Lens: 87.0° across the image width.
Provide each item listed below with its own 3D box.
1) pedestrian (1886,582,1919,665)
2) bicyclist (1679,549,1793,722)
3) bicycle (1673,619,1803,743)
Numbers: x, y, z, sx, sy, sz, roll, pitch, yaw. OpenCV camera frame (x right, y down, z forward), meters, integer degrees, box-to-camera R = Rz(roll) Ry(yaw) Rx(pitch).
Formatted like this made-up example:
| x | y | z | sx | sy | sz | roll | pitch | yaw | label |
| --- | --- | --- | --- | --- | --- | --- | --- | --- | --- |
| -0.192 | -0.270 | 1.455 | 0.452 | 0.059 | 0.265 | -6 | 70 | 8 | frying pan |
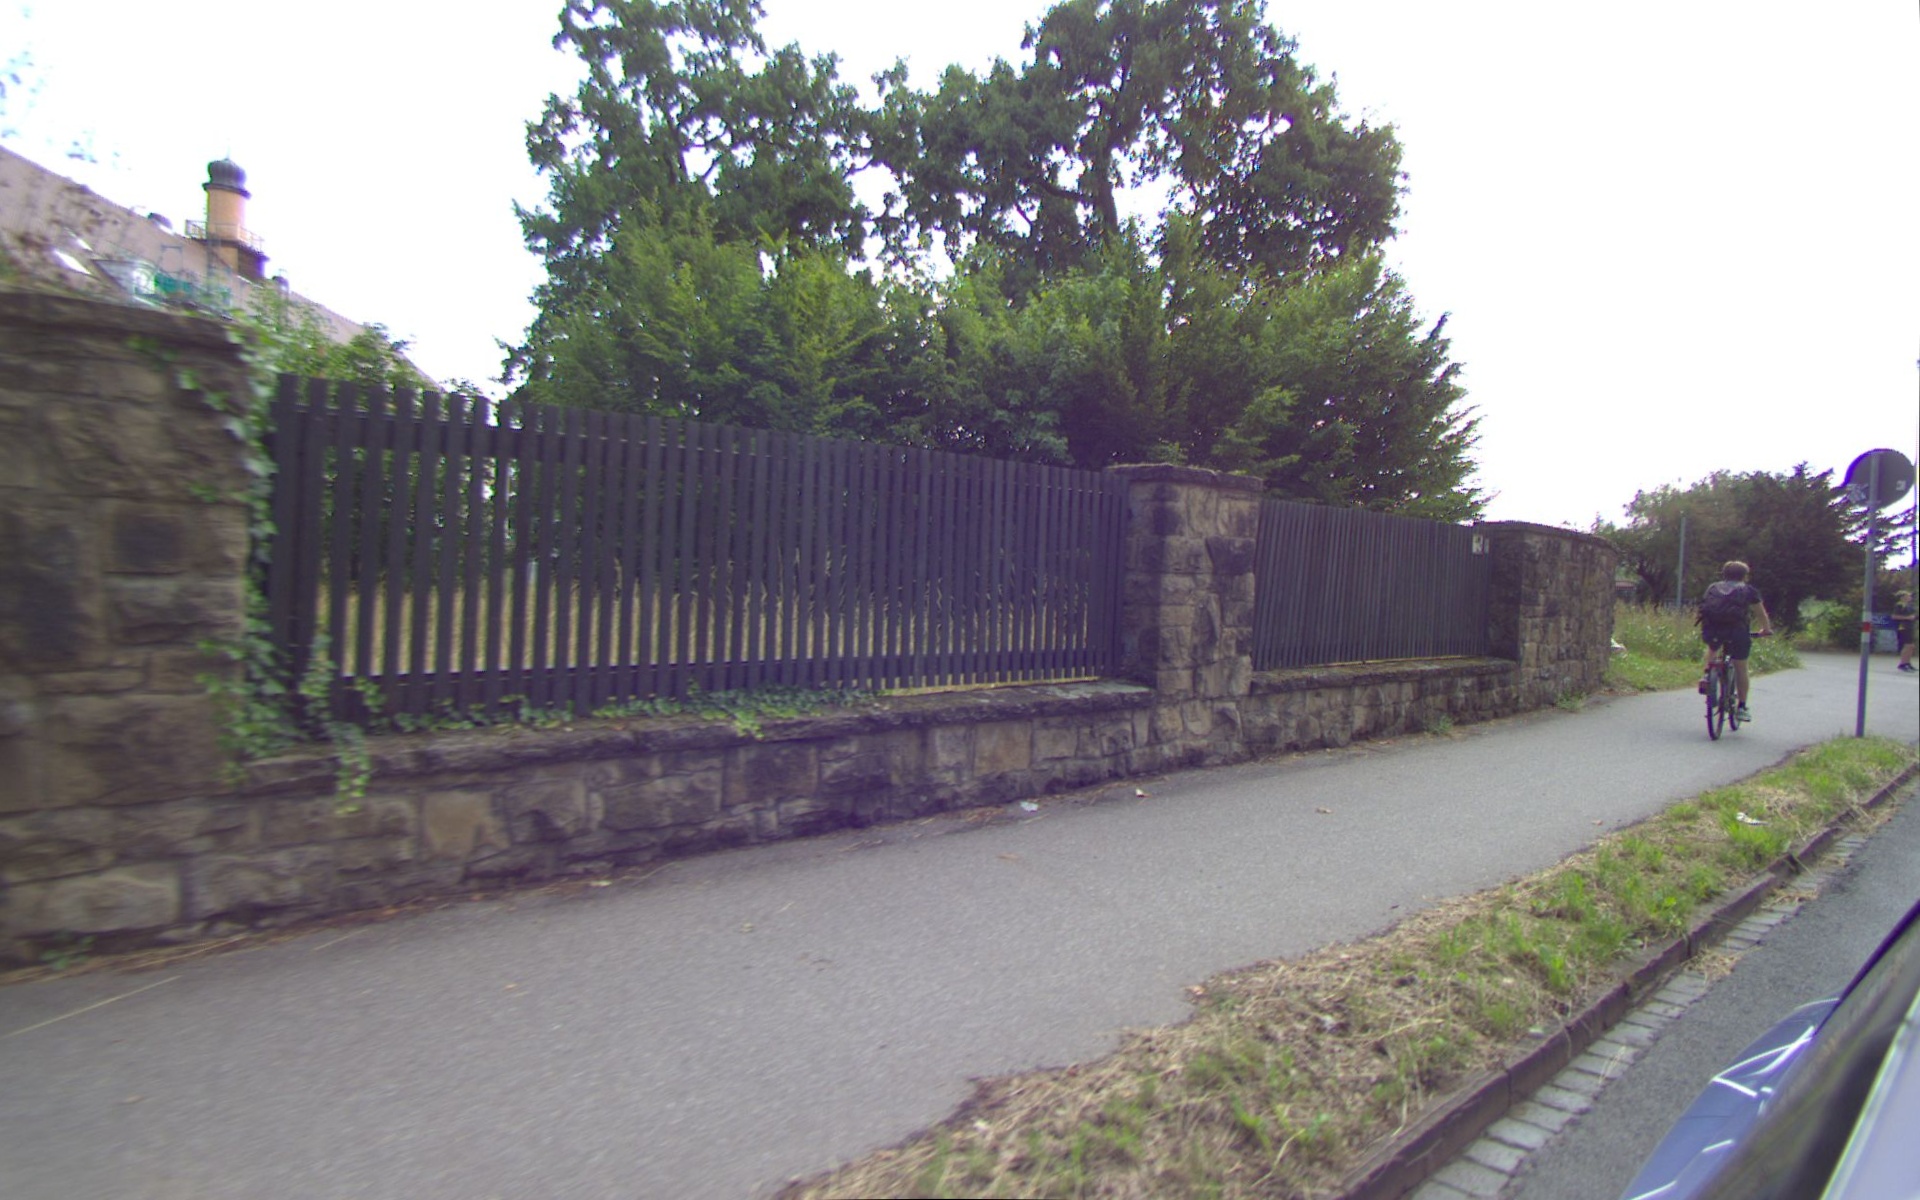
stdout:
| x | y | z | sx | sy | sz | roll | pitch | yaw | label |
| --- | --- | --- | --- | --- | --- | --- | --- | --- | --- |
| 19.869 | 0.489 | 20.909 | 0.612 | 1.671 | 0.835 | 1 | 2 | -24 | pedestrian |
| 7.730 | 0.331 | 10.066 | 1.184 | 1.607 | 0.571 | 1 | 3 | -41 | bicyclist |
| 7.857 | 0.759 | 10.182 | 2.119 | 1.086 | 0.559 | 1 | 3 | -41 | bicycle |
